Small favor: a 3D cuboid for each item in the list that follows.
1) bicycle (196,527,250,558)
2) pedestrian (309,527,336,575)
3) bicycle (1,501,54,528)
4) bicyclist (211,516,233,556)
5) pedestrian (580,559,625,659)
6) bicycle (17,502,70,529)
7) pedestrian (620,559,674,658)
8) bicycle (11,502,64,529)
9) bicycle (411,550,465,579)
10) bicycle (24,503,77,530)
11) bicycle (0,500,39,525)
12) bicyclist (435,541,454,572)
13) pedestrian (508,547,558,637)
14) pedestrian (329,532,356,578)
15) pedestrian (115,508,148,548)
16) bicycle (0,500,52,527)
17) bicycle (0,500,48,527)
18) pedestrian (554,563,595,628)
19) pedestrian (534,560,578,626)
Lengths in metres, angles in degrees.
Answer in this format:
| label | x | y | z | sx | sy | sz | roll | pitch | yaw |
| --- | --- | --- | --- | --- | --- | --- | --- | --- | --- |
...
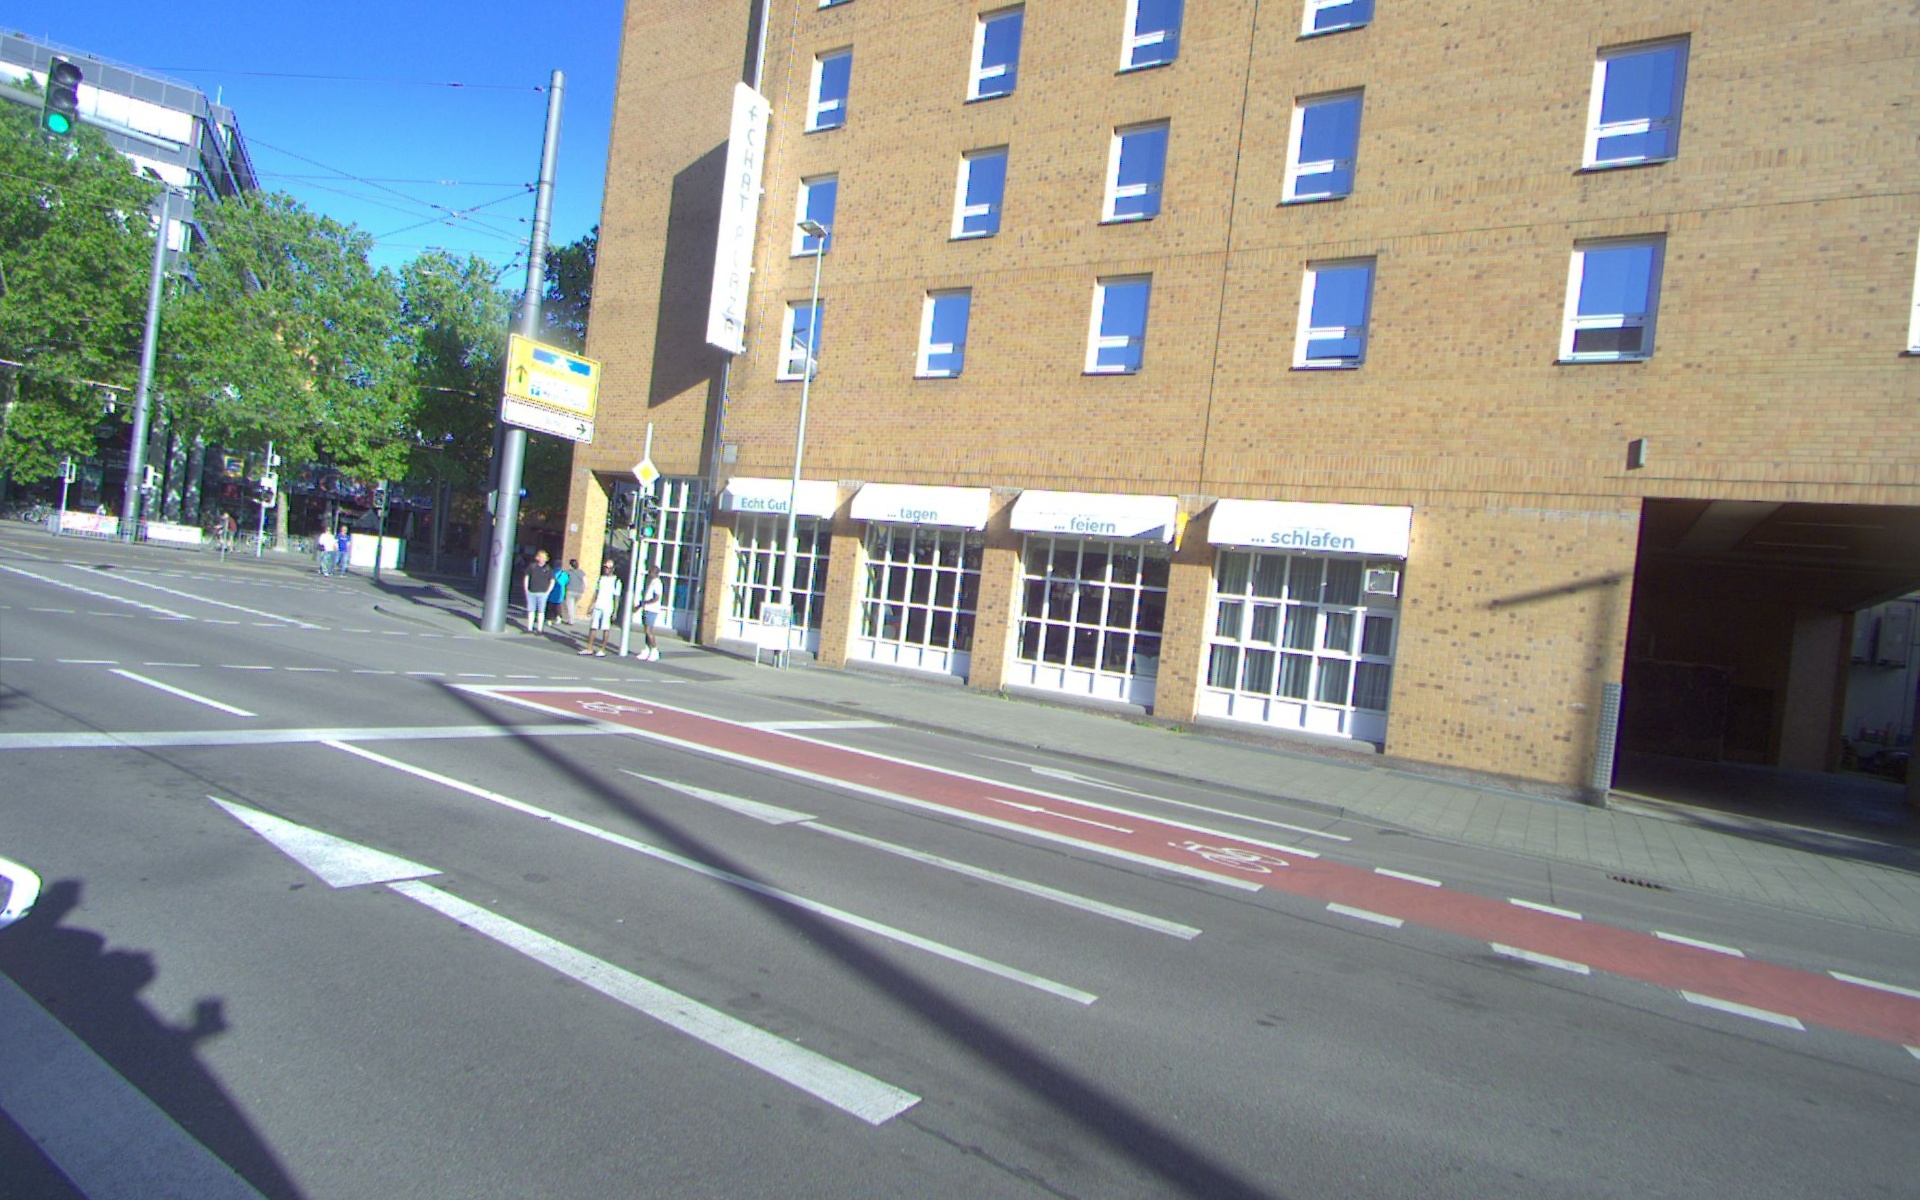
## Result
| label | x | y | z | sx | sy | sz | roll | pitch | yaw |
| --- | --- | --- | --- | --- | --- | --- | --- | --- | --- |
| bicycle | -36.321 | -2.818 | 49.628 | 0.414 | 1.228 | 2.046 | 6 | -2 | 32 |
| pedestrian | -21.519 | -1.646 | 33.962 | 0.563 | 1.550 | 0.695 | 8 | -2 | -37 |
| bicycle | -48.389 | -4.435 | 52.224 | 0.354 | 1.058 | 1.884 | 6 | -2 | 31 |
| bicyclist | -36.355 | -3.142 | 49.527 | 0.396 | 1.859 | 0.585 | 6 | -1 | 31 |
| pedestrian | -6.736 | 0.160 | 18.945 | 0.587 | 1.804 | 0.676 | 4 | 4 | -30 |
| bicycle | -46.673 | -4.281 | 51.265 | 0.354 | 1.058 | 1.884 | 6 | -2 | 31 |
| pedestrian | -5.970 | 0.171 | 19.218 | 0.583 | 1.802 | 0.682 | 6 | 0 | 6 |
| bicycle | -47.368 | -4.340 | 51.660 | 0.354 | 1.058 | 1.884 | 6 | -2 | 31 |
| bicycle | -26.832 | -1.817 | 51.761 | 2.313 | 1.191 | 0.562 | 9 | -3 | -40 |
| bicycle | -46.007 | -4.224 | 50.884 | 0.354 | 1.058 | 1.884 | 6 | -2 | 31 |
| bicycle | -50.175 | -4.647 | 53.310 | 0.354 | 1.058 | 1.885 | 7 | -2 | 31 |
| bicyclist | -26.600 | -2.252 | 51.918 | 0.629 | 1.536 | 0.561 | 8 | -2 | -39 |
| pedestrian | -9.074 | -0.165 | 21.393 | 0.726 | 1.813 | 0.510 | 7 | -1 | -19 |
| pedestrian | -21.198 | -1.552 | 34.541 | 0.563 | 1.496 | 0.695 | 8 | -2 | -37 |
| pedestrian | -38.530 | -3.358 | 46.792 | 0.747 | 1.724 | 0.834 | 6 | -1 | 32 |
| bicycle | -48.769 | -4.485 | 52.512 | 0.354 | 1.058 | 1.885 | 7 | -2 | 31 |
| bicycle | -49.193 | -4.535 | 52.758 | 0.354 | 1.058 | 1.885 | 7 | -2 | 31 |
| pedestrian | -9.315 | -0.106 | 24.340 | 0.543 | 1.495 | 0.593 | 6 | 0 | 32 |
| pedestrian | -9.528 | -0.161 | 23.738 | 0.591 | 1.470 | 0.593 | 6 | 0 | 32 |
